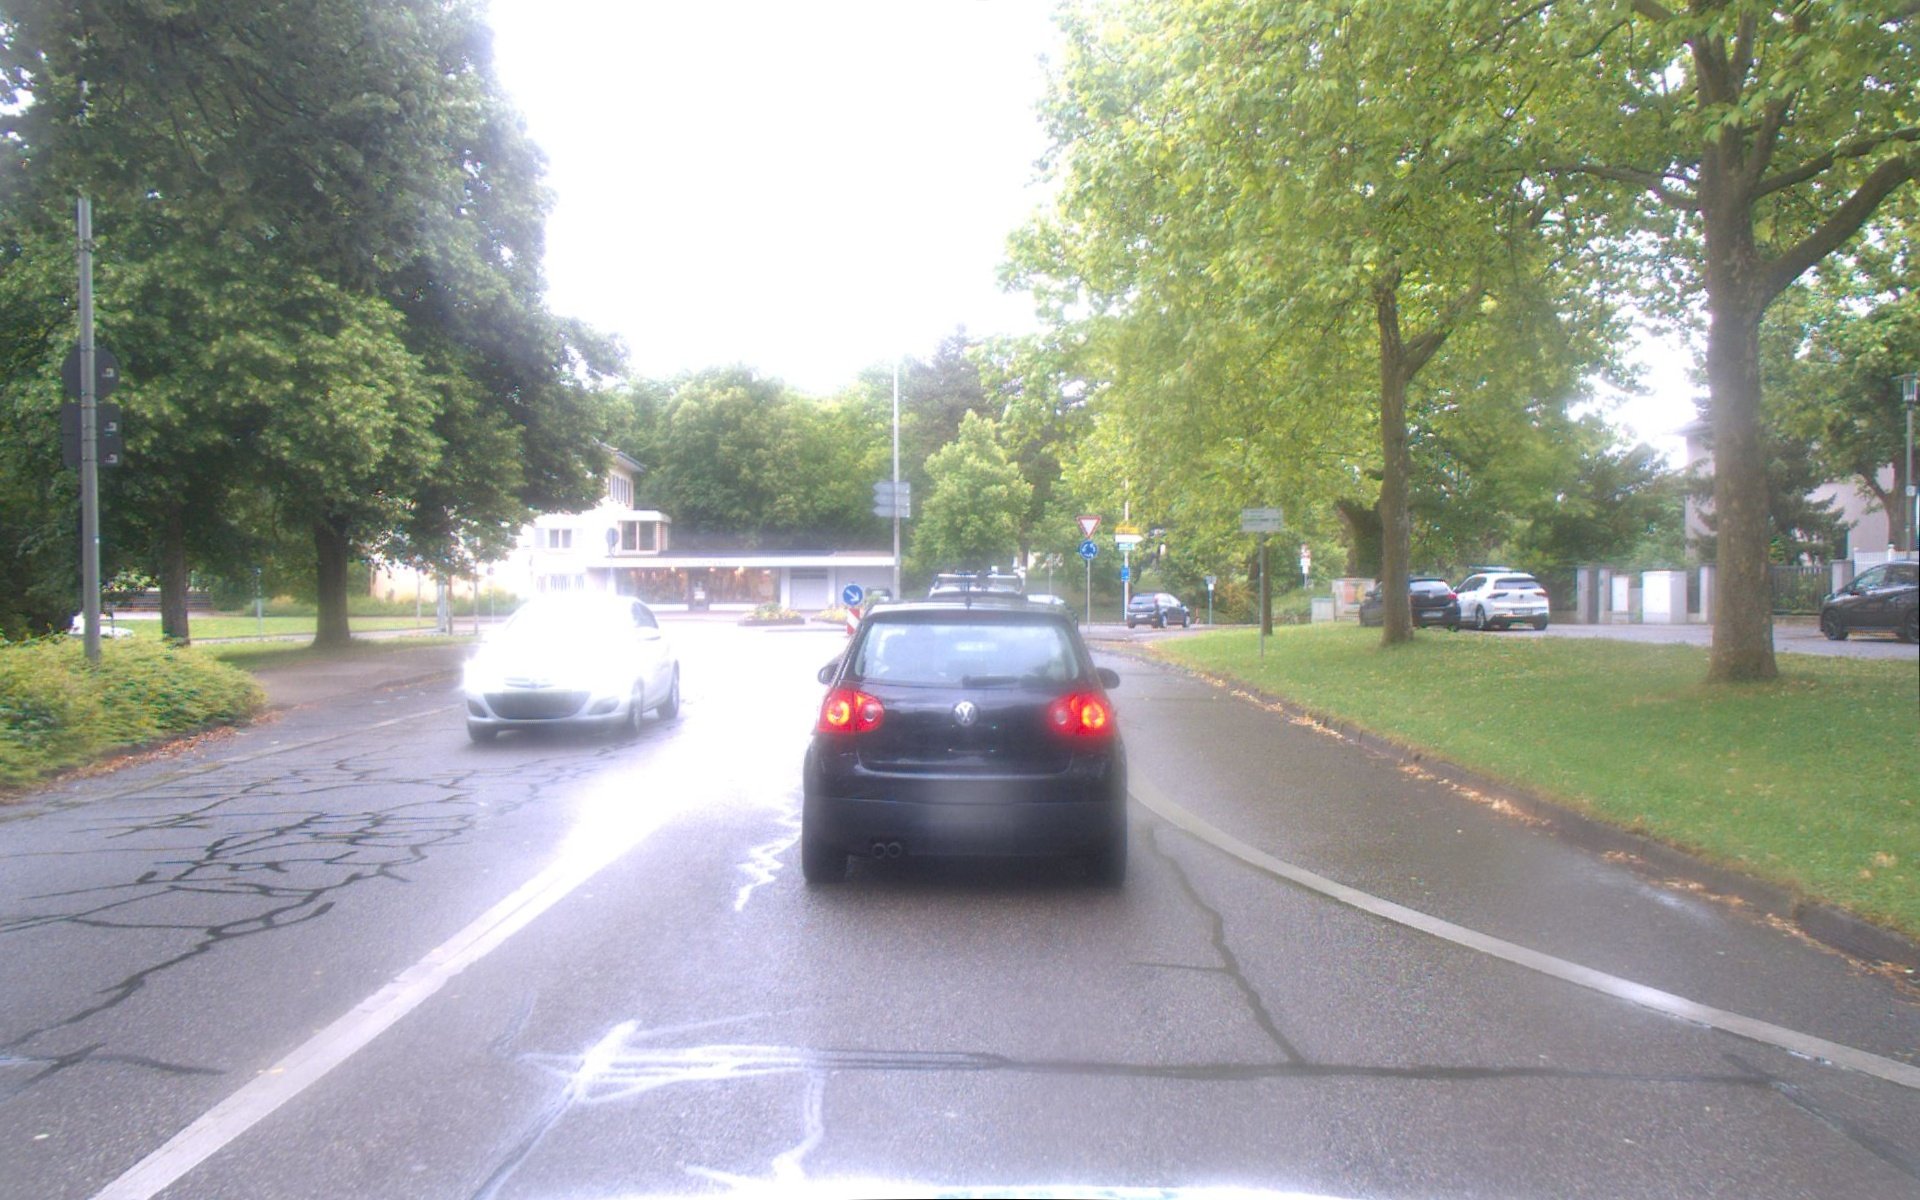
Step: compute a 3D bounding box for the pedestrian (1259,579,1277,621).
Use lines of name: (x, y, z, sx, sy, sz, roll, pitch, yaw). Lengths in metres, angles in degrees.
pedestrian: (12.992, -0.014, 69.817, 0.519, 1.743, 0.633, 1, -1, -14)

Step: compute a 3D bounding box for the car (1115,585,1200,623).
car: (8.452, 0.192, 70.527, 1.959, 1.557, 3.987, 1, 0, 34)

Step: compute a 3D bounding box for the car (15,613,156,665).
car: (-30.661, 1.356, 58.099, 3.948, 1.713, 1.994, 1, 0, -12)

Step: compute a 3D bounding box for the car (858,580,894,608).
car: (-4.713, -0.344, 92.431, 1.778, 1.512, 3.826, -1, 1, -7)

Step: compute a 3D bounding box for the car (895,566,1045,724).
car: (0.081, 0.535, 21.615, 1.729, 1.833, 4.245, -1, 0, -1)

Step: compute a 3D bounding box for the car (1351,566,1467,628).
car: (11.890, -0.068, 44.117, 1.728, 1.497, 4.597, -2, 0, -1)

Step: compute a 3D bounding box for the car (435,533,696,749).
car: (-4.236, 0.394, 18.534, 1.954, 2.049, 4.571, -2, 0, -3)

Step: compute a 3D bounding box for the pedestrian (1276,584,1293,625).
pedestrian: (13.830, 0.183, 70.513, 0.620, 1.743, 0.530, 1, -1, 16)

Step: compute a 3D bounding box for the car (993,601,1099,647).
car: (3.055, 0.840, 58.384, 1.959, 1.557, 3.987, 1, 0, 34)

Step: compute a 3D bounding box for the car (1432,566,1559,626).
car: (14.296, -0.097, 44.404, 1.808, 1.497, 4.424, -2, 0, -2)

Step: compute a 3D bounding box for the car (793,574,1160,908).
car: (0.049, 0.682, 9.917, 1.729, 1.565, 3.999, 1, 0, -1)

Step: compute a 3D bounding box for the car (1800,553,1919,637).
car: (17.964, -0.097, 31.267, 1.725, 1.497, 4.353, -1, 0, -4)
